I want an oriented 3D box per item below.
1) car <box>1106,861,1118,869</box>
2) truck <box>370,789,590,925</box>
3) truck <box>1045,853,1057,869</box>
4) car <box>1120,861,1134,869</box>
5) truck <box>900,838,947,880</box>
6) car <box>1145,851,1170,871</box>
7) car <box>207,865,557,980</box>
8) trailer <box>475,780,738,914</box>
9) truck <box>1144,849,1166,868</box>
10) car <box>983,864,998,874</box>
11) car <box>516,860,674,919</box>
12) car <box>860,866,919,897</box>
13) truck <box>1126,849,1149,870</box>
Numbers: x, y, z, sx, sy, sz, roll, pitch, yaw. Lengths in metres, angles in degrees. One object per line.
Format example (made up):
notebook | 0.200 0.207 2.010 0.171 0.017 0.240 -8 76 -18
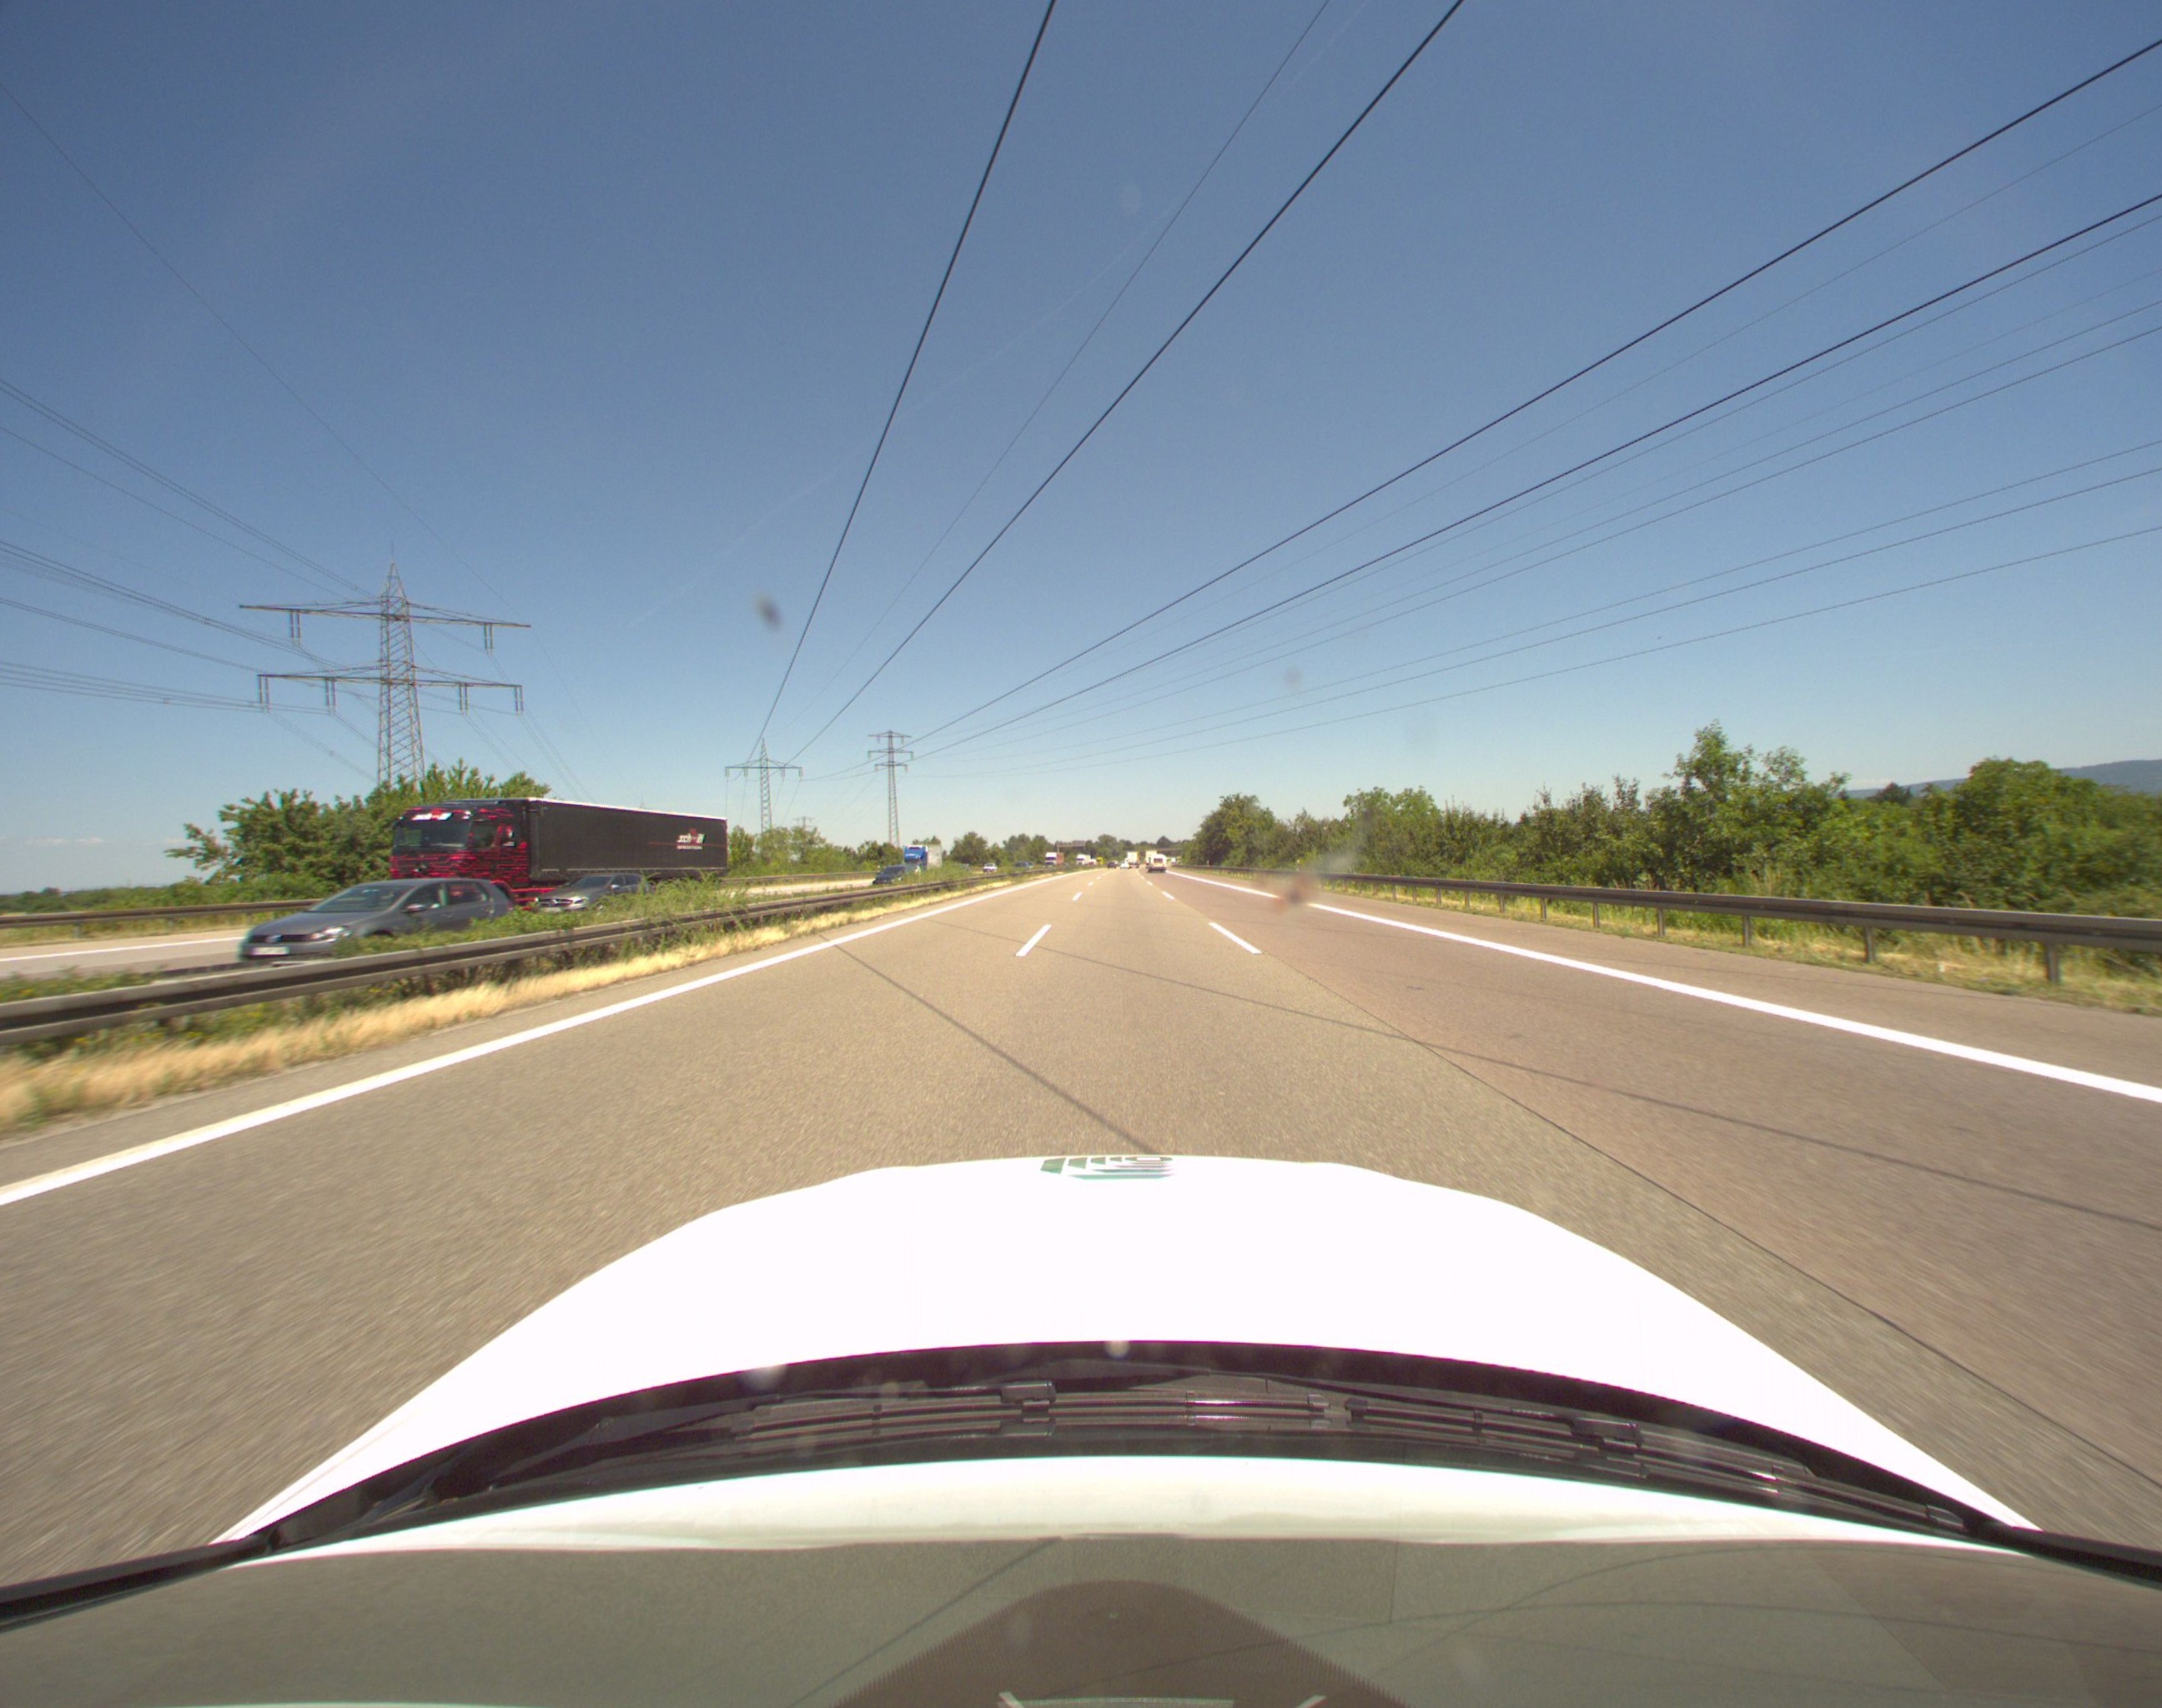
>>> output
car | 6.755 2.393 178.144 1.816 1.547 4.332 0 0 11
truck | -19.496 0.069 26.970 2.638 3.982 5.995 0 0 2
truck | -7.584 1.666 204.954 2.470 4.019 4.608 0 0 5
car | 9.149 2.197 161.125 1.814 1.547 4.337 0 0 16
truck | -16.212 0.454 84.722 2.444 3.976 9.676 -3 0 2
car | 9.166 0.808 97.908 2.434 2.321 5.323 -2 1 1
car | -12.122 1.061 14.744 1.821 1.619 5.020 0 0 2
trailer | -19.188 -0.280 34.836 2.638 4.552 13.872 0 0 2
truck | 17.784 0.956 194.391 3.160 4.304 16.070 0 0 12
car | -13.858 2.253 125.035 1.659 1.532 4.282 -1 -1 2
car | -15.470 1.061 26.330 1.936 1.617 5.020 0 0 2
car | -11.012 1.555 47.231 1.985 1.617 5.020 0 0 2
truck | 14.099 1.254 202.920 3.642 5.018 16.068 0 0 11
